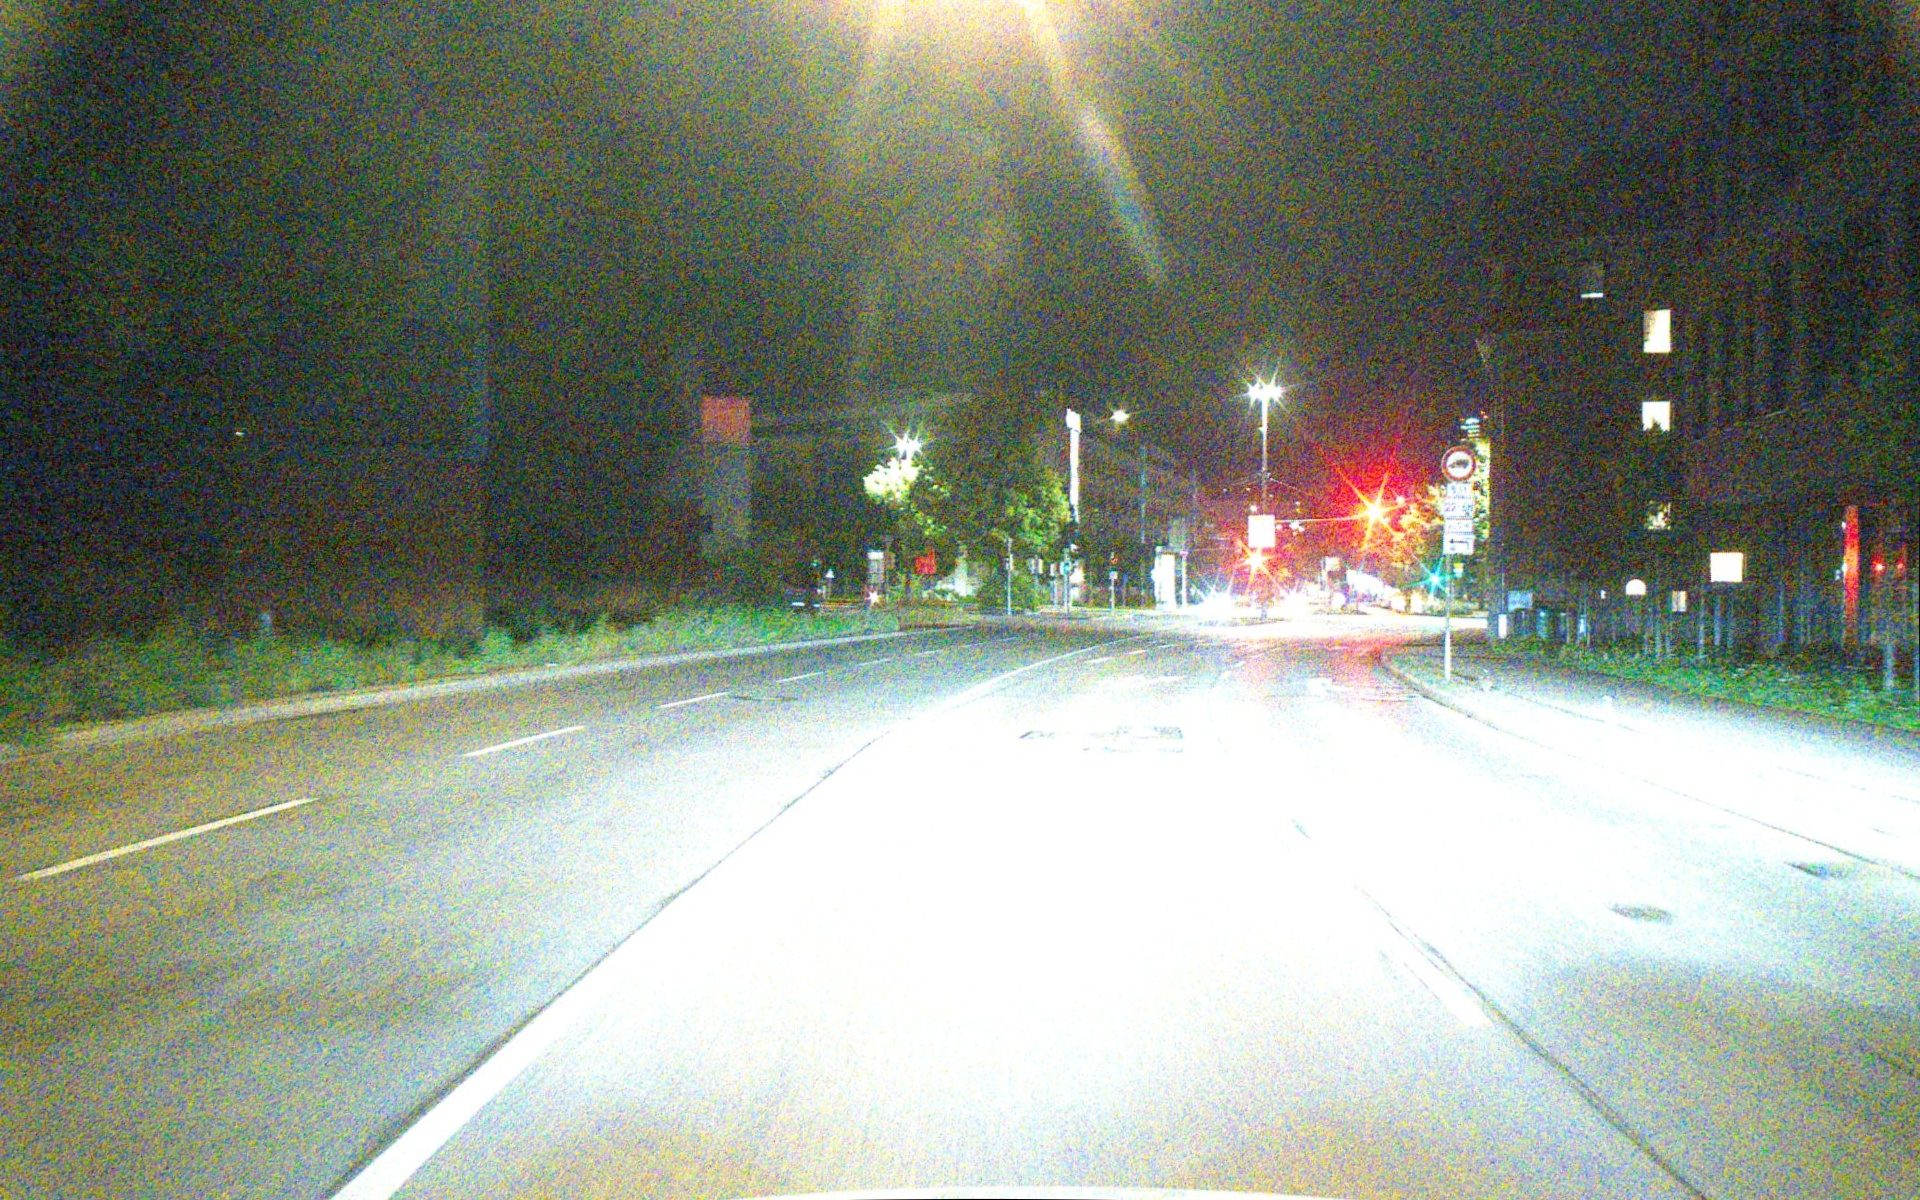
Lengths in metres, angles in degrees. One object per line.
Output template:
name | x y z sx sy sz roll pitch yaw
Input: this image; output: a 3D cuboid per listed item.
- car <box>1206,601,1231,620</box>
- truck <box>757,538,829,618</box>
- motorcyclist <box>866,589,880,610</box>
car | 21.755 0.864 139.218 1.581 1.541 4.003 1 0 16
truck | -8.806 -1.068 86.182 2.885 3.863 9.533 1 0 -11
motorcyclist | -5.236 -0.028 99.304 0.639 1.283 0.574 1 -1 -27
